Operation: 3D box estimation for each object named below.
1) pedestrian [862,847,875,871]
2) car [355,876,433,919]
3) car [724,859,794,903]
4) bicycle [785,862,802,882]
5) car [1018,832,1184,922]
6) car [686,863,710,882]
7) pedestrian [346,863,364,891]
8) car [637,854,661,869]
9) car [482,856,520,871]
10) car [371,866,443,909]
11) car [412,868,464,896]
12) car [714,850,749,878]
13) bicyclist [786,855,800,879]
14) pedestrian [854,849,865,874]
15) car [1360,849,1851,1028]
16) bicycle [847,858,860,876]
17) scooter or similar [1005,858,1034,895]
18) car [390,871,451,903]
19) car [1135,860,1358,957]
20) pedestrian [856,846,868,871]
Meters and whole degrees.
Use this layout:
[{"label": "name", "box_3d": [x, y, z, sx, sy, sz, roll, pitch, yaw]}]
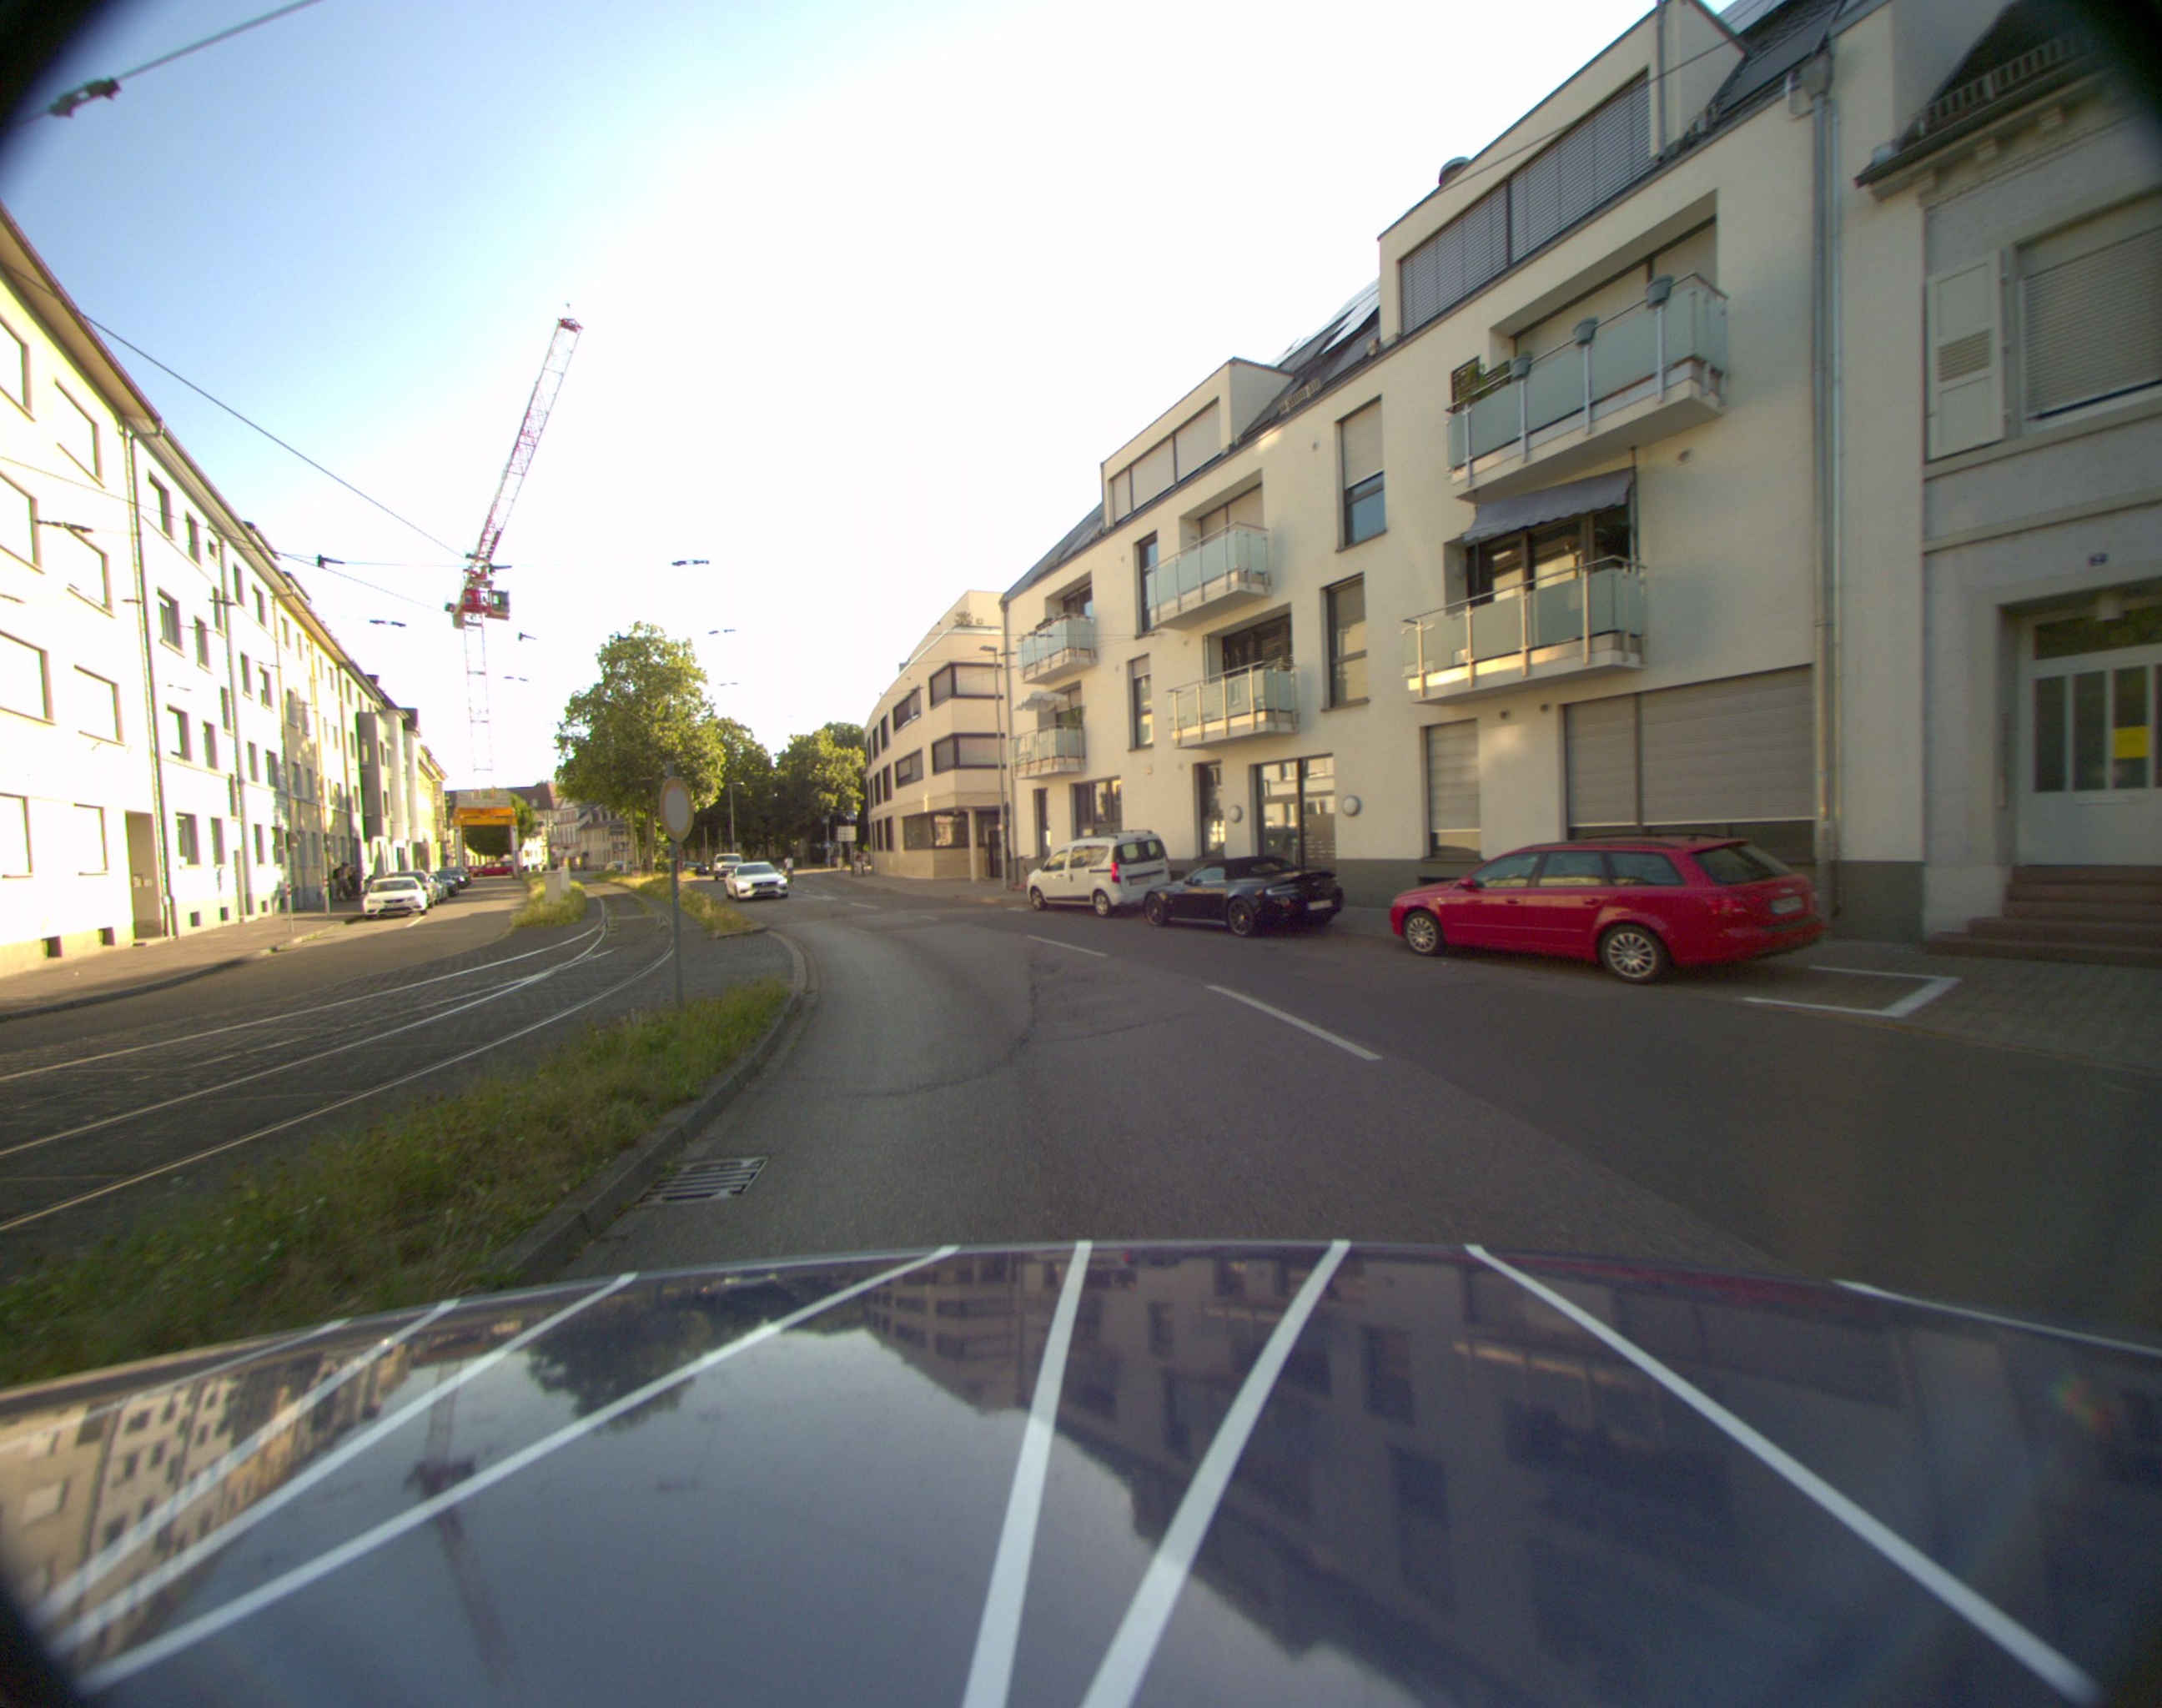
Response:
[{"label": "pedestrian", "box_3d": [-15.549, 0.363, 55.602, 0.705, 1.704, 0.841, -4, 3, -24]}, {"label": "car", "box_3d": [-25.801, 1.586, 28.622, 2.004, 1.378, 4.434, -2, 1, -41]}, {"label": "car", "box_3d": [-12.962, 0.996, 30.428, 1.857, 1.456, 4.761, -6, 3, -31]}, {"label": "bicycle", "box_3d": [-16.664, 1.045, 44.000, 0.625, 1.075, 1.779, -2, 2, -30]}, {"label": "car", "box_3d": [0.347, 0.476, 18.375, 1.820, 1.859, 4.321, -3, 2, -33]}, {"label": "car", "box_3d": [-34.673, 1.647, 68.714, 1.718, 1.607, 3.991, -3, 2, -28]}, {"label": "pedestrian", "box_3d": [-37.226, 1.174, 38.972, 0.526, 1.432, 0.460, -3, 2, -37]}, {"label": "car", "box_3d": [-54.831, 0.946, 96.468, 2.003, 1.784, 3.989, -4, 3, -37]}, {"label": "car", "box_3d": [-79.223, 1.345, 103.803, 4.079, 1.910, 1.995, -2, 1, -40]}, {"label": "car", "box_3d": [-28.979, 1.396, 32.798, 2.004, 1.563, 4.628, -2, 2, -38]}, {"label": "car", "box_3d": [-36.183, 1.541, 42.831, 2.004, 1.378, 4.434, -2, 1, -38]}, {"label": "car", "box_3d": [-25.105, 0.687, 54.501, 2.003, 1.843, 4.892, -2, 0, -27]}, {"label": "bicyclist", "box_3d": [-16.666, 0.739, 43.984, 0.625, 1.372, 0.799, -2, 2, -30]}, {"label": "pedestrian", "box_3d": [-14.578, 0.493, 49.975, 0.475, 1.638, 0.601, -6, 2, -14]}, {"label": "car", "box_3d": [5.740, 0.754, 9.122, 1.716, 1.458, 4.583, -5, 2, -23]}, {"label": "bicycle", "box_3d": [-14.999, 0.848, 50.103, 0.441, 1.171, 1.965, -3, 1, -8]}, {"label": "scooter or similar", "box_3d": [-2.096, 0.771, 25.928, 1.152, 1.213, 0.225, -2, 2, 45]}, {"label": "car", "box_3d": [-32.386, 1.560, 37.352, 2.004, 1.378, 4.434, -2, 1, -38]}, {"label": "car", "box_3d": [2.784, 0.850, 13.699, 1.672, 1.266, 4.016, -5, 3, -28]}, {"label": "pedestrian", "box_3d": [-15.951, 0.317, 55.419, 0.608, 1.839, 0.990, -4, 3, -24]}]
